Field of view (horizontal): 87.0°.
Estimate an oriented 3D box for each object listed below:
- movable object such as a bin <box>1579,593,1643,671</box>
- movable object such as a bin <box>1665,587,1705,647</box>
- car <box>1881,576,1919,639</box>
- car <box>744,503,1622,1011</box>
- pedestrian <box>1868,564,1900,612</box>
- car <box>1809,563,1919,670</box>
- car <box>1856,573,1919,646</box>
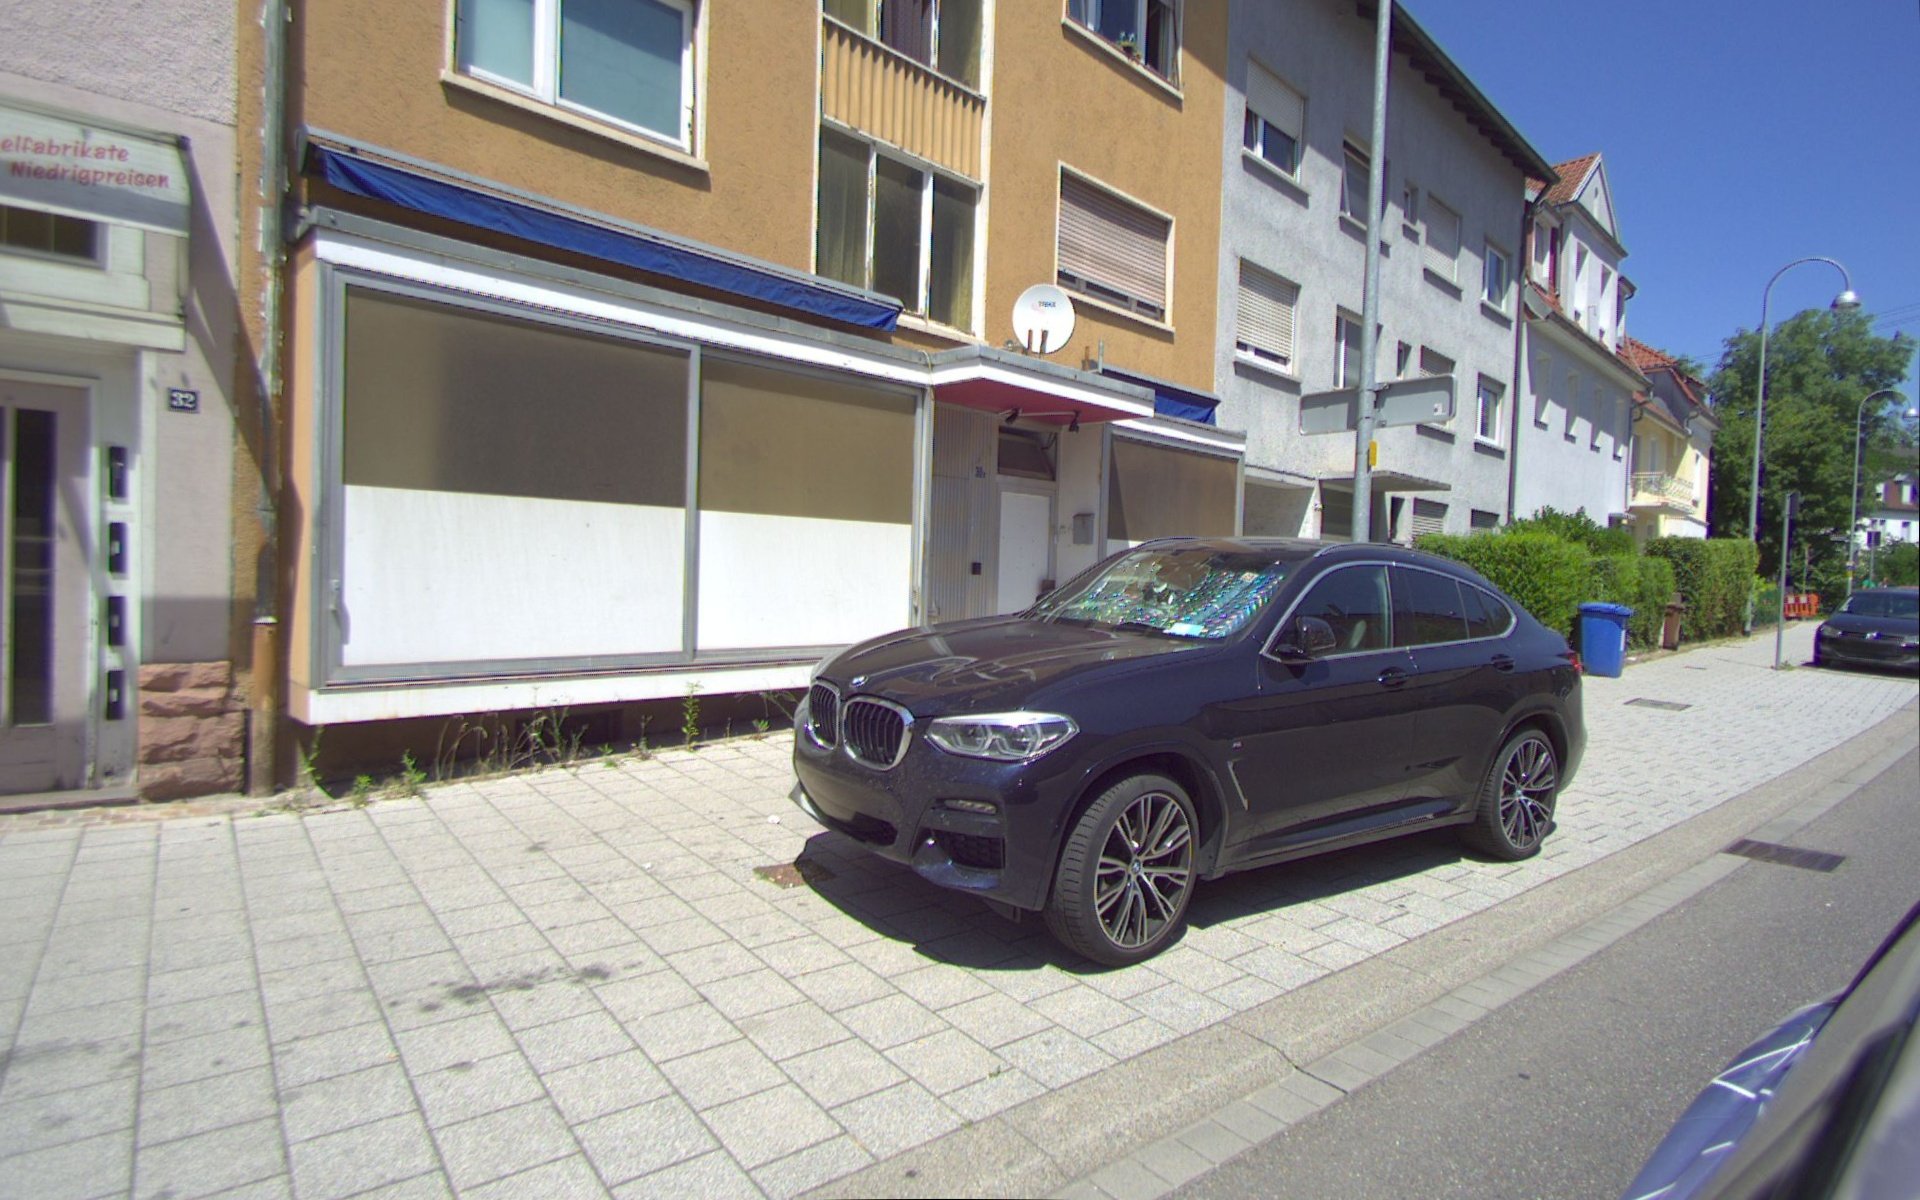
[{"bbox_3d":[9.596,0.454,14.921,0.636,1.090,0.594,-1,4,-42],"label":"movable object such as a bin"},{"bbox_3d":[14.100,0.324,19.693,0.546,1.117,0.488,0,3,-42],"label":"movable object such as a bin"},{"bbox_3d":[25.846,0.190,26.777,4.080,1.548,1.806,-1,3,-43],"label":"car"},{"bbox_3d":[1.292,0.428,5.189,4.280,1.626,1.903,0,4,-33],"label":"car"},{"bbox_3d":[34.300,-0.447,37.575,0.516,1.726,0.797,6,4,27],"label":"pedestrian"},{"bbox_3d":[16.776,0.270,17.983,3.927,1.652,1.734,0,5,-38],"label":"car"},{"bbox_3d":[22.478,0.218,23.615,4.641,1.492,1.807,-1,6,-43],"label":"car"}]
